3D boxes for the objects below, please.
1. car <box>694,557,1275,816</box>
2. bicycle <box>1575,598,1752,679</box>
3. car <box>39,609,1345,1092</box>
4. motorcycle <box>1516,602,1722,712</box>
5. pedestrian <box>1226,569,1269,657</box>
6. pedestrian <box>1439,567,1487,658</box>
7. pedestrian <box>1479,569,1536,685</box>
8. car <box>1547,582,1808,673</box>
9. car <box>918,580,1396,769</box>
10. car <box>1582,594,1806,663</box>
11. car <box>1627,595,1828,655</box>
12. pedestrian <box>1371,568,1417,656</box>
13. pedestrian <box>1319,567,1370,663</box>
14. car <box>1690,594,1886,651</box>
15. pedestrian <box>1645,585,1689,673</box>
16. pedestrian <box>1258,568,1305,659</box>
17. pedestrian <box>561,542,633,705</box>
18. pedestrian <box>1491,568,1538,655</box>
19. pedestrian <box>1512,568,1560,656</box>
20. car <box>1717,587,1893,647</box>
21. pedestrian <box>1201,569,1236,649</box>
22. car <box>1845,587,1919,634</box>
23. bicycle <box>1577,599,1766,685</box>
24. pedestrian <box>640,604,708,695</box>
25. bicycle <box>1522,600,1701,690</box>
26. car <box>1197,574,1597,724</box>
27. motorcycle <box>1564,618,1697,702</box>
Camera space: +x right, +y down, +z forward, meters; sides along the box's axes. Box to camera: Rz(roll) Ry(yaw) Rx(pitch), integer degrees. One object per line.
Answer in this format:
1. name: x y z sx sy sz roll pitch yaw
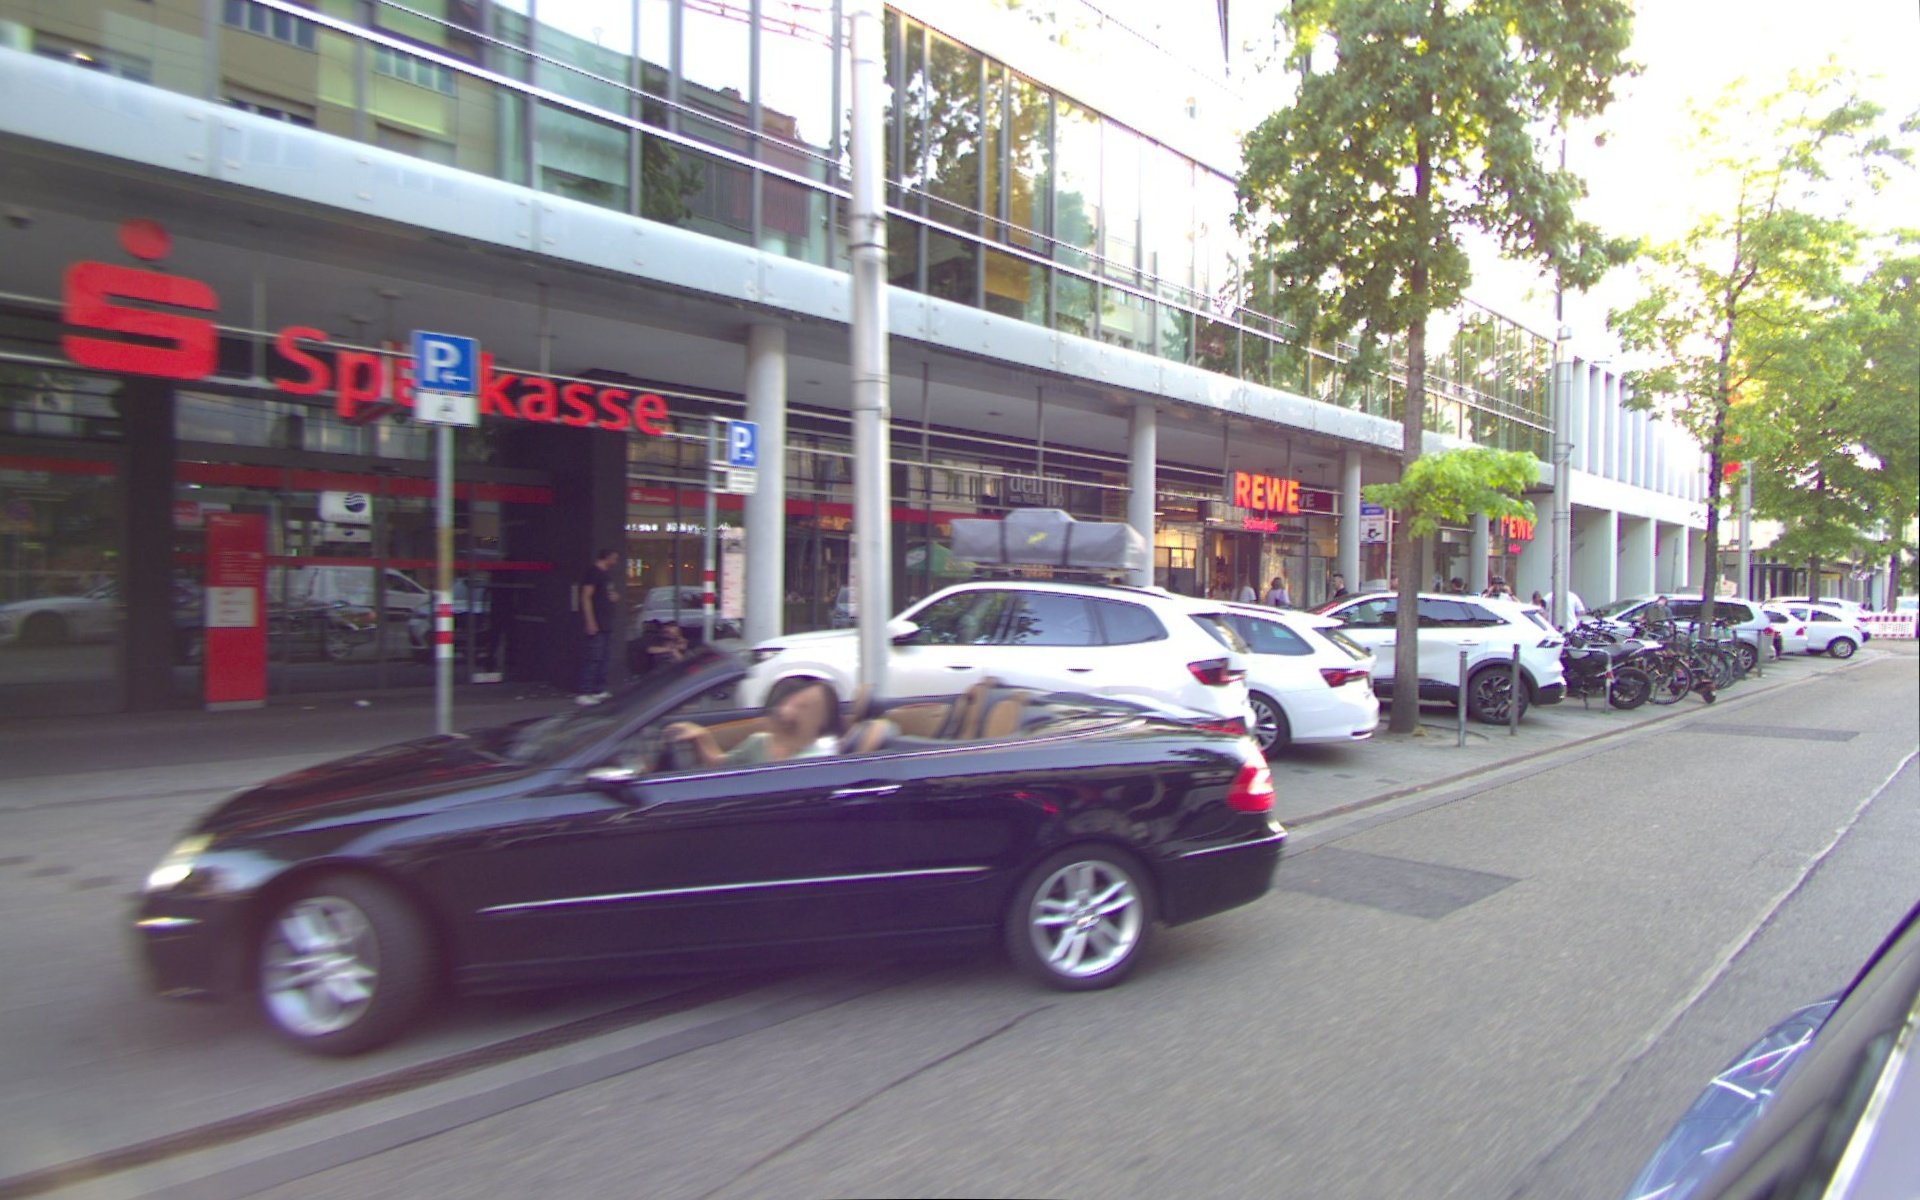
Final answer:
1. car: 0.254 0.580 8.695 4.575 1.650 1.908 3 0 17
2. bicycle: 13.343 0.741 19.304 2.643 1.475 0.671 -2 -1 23
3. car: -0.841 0.777 4.469 4.470 1.426 1.803 0 0 -13
4. motorcycle: 9.238 0.775 14.277 2.071 1.370 1.157 2 2 0
5. pedestrian: 5.729 0.242 20.190 0.617 1.712 0.557 0 2 -41
6. pedestrian: 9.695 0.233 19.507 0.617 1.712 0.617 0 2 -41
7. pedestrian: 8.894 0.420 16.443 0.617 1.822 0.617 0 2 -41
8. car: 16.162 0.631 23.033 4.397 1.904 1.793 -2 -1 12
9. car: 2.038 0.626 10.691 4.584 1.457 1.904 3 2 22
10. car: 17.751 0.687 24.676 3.938 1.530 1.793 -2 -1 12
11. car: 20.909 0.695 27.783 3.948 1.530 1.788 -2 -1 20
12. pedestrian: 8.686 0.229 20.262 0.617 1.712 0.617 0 2 -41
13. pedestrian: 6.985 0.258 18.389 0.617 1.712 0.617 0 2 -41
14. car: 24.001 0.661 29.534 3.948 1.530 1.853 -2 -1 20
15. pedestrian: 14.059 0.560 20.116 0.616 1.712 0.618 1 0 44
16. pedestrian: 6.227 0.247 19.603 0.617 1.712 0.617 0 2 -41
17. pedestrian: -4.155 0.248 11.591 0.617 1.794 0.557 0 2 -41
18. pedestrian: 11.139 0.217 20.336 0.617 1.712 0.617 0 2 -41
19. pedestrian: 11.396 0.220 20.015 0.617 1.712 0.617 0 2 -41
20. car: 27.265 0.559 32.841 3.957 1.809 1.849 -2 -1 25
21. pedestrian: 5.677 0.177 22.207 0.622 1.712 0.553 1 1 26
22. car: 37.738 0.388 40.059 3.919 1.809 1.867 -1 -1 -7
23. bicycle: 12.781 0.755 18.291 2.642 1.475 0.724 -2 -1 23
24. pedestrian: -3.503 0.589 12.401 0.625 1.048 0.550 2 2 41
25. bicycle: 11.168 0.774 17.455 2.461 1.475 0.652 -2 -1 24
26. car: 5.565 0.547 13.571 4.571 1.607 1.910 3 2 15
27. motorcycle: 10.178 0.888 15.429 1.555 1.113 0.624 3 2 24
